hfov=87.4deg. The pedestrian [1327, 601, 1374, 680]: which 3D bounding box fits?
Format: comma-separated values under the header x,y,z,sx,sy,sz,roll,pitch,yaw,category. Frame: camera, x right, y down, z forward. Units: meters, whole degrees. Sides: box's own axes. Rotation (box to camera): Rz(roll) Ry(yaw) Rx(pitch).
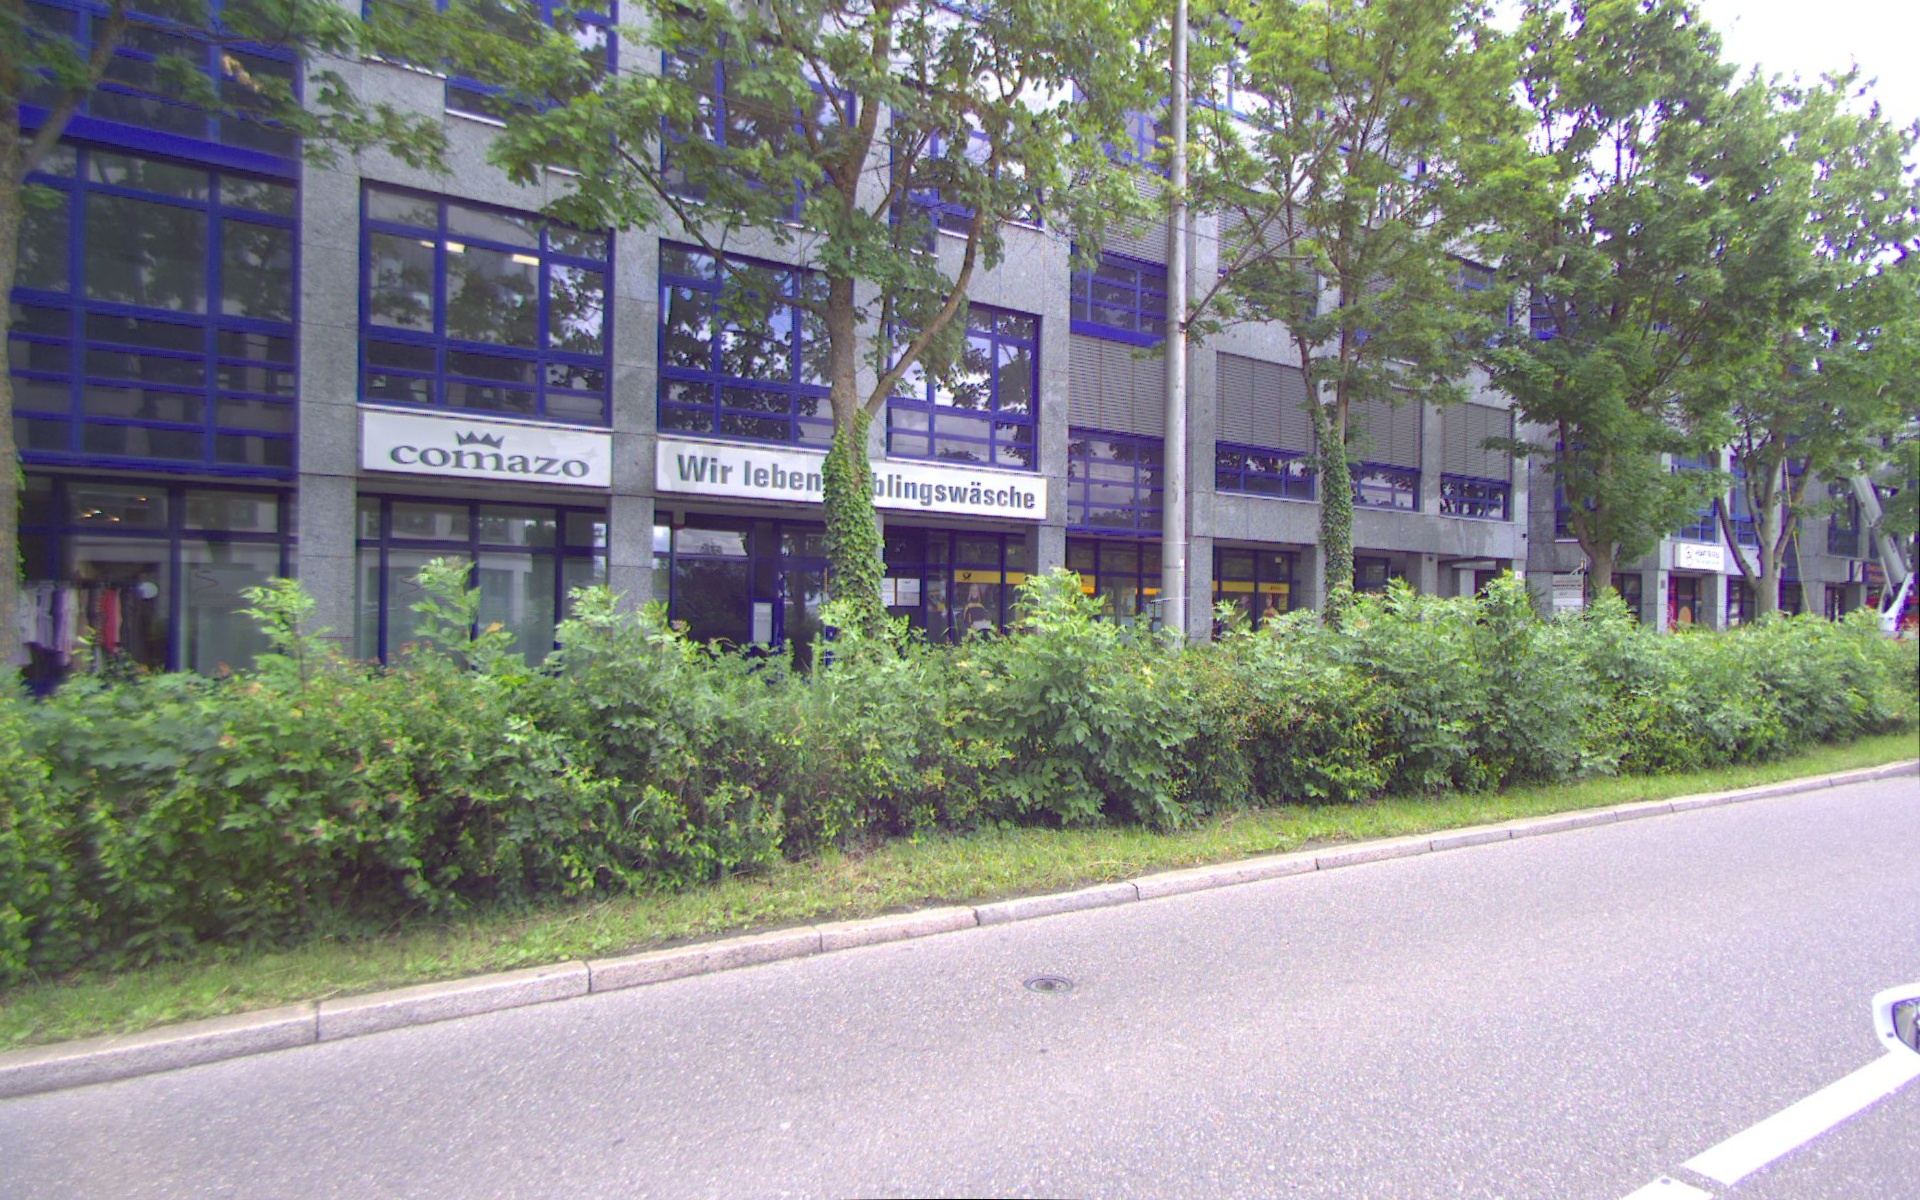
x,y,z,sx,sy,sz,roll,pitch,yaw,category
9.718,1.006,24.988,0.723,1.919,0.771,2,0,-30,pedestrian
